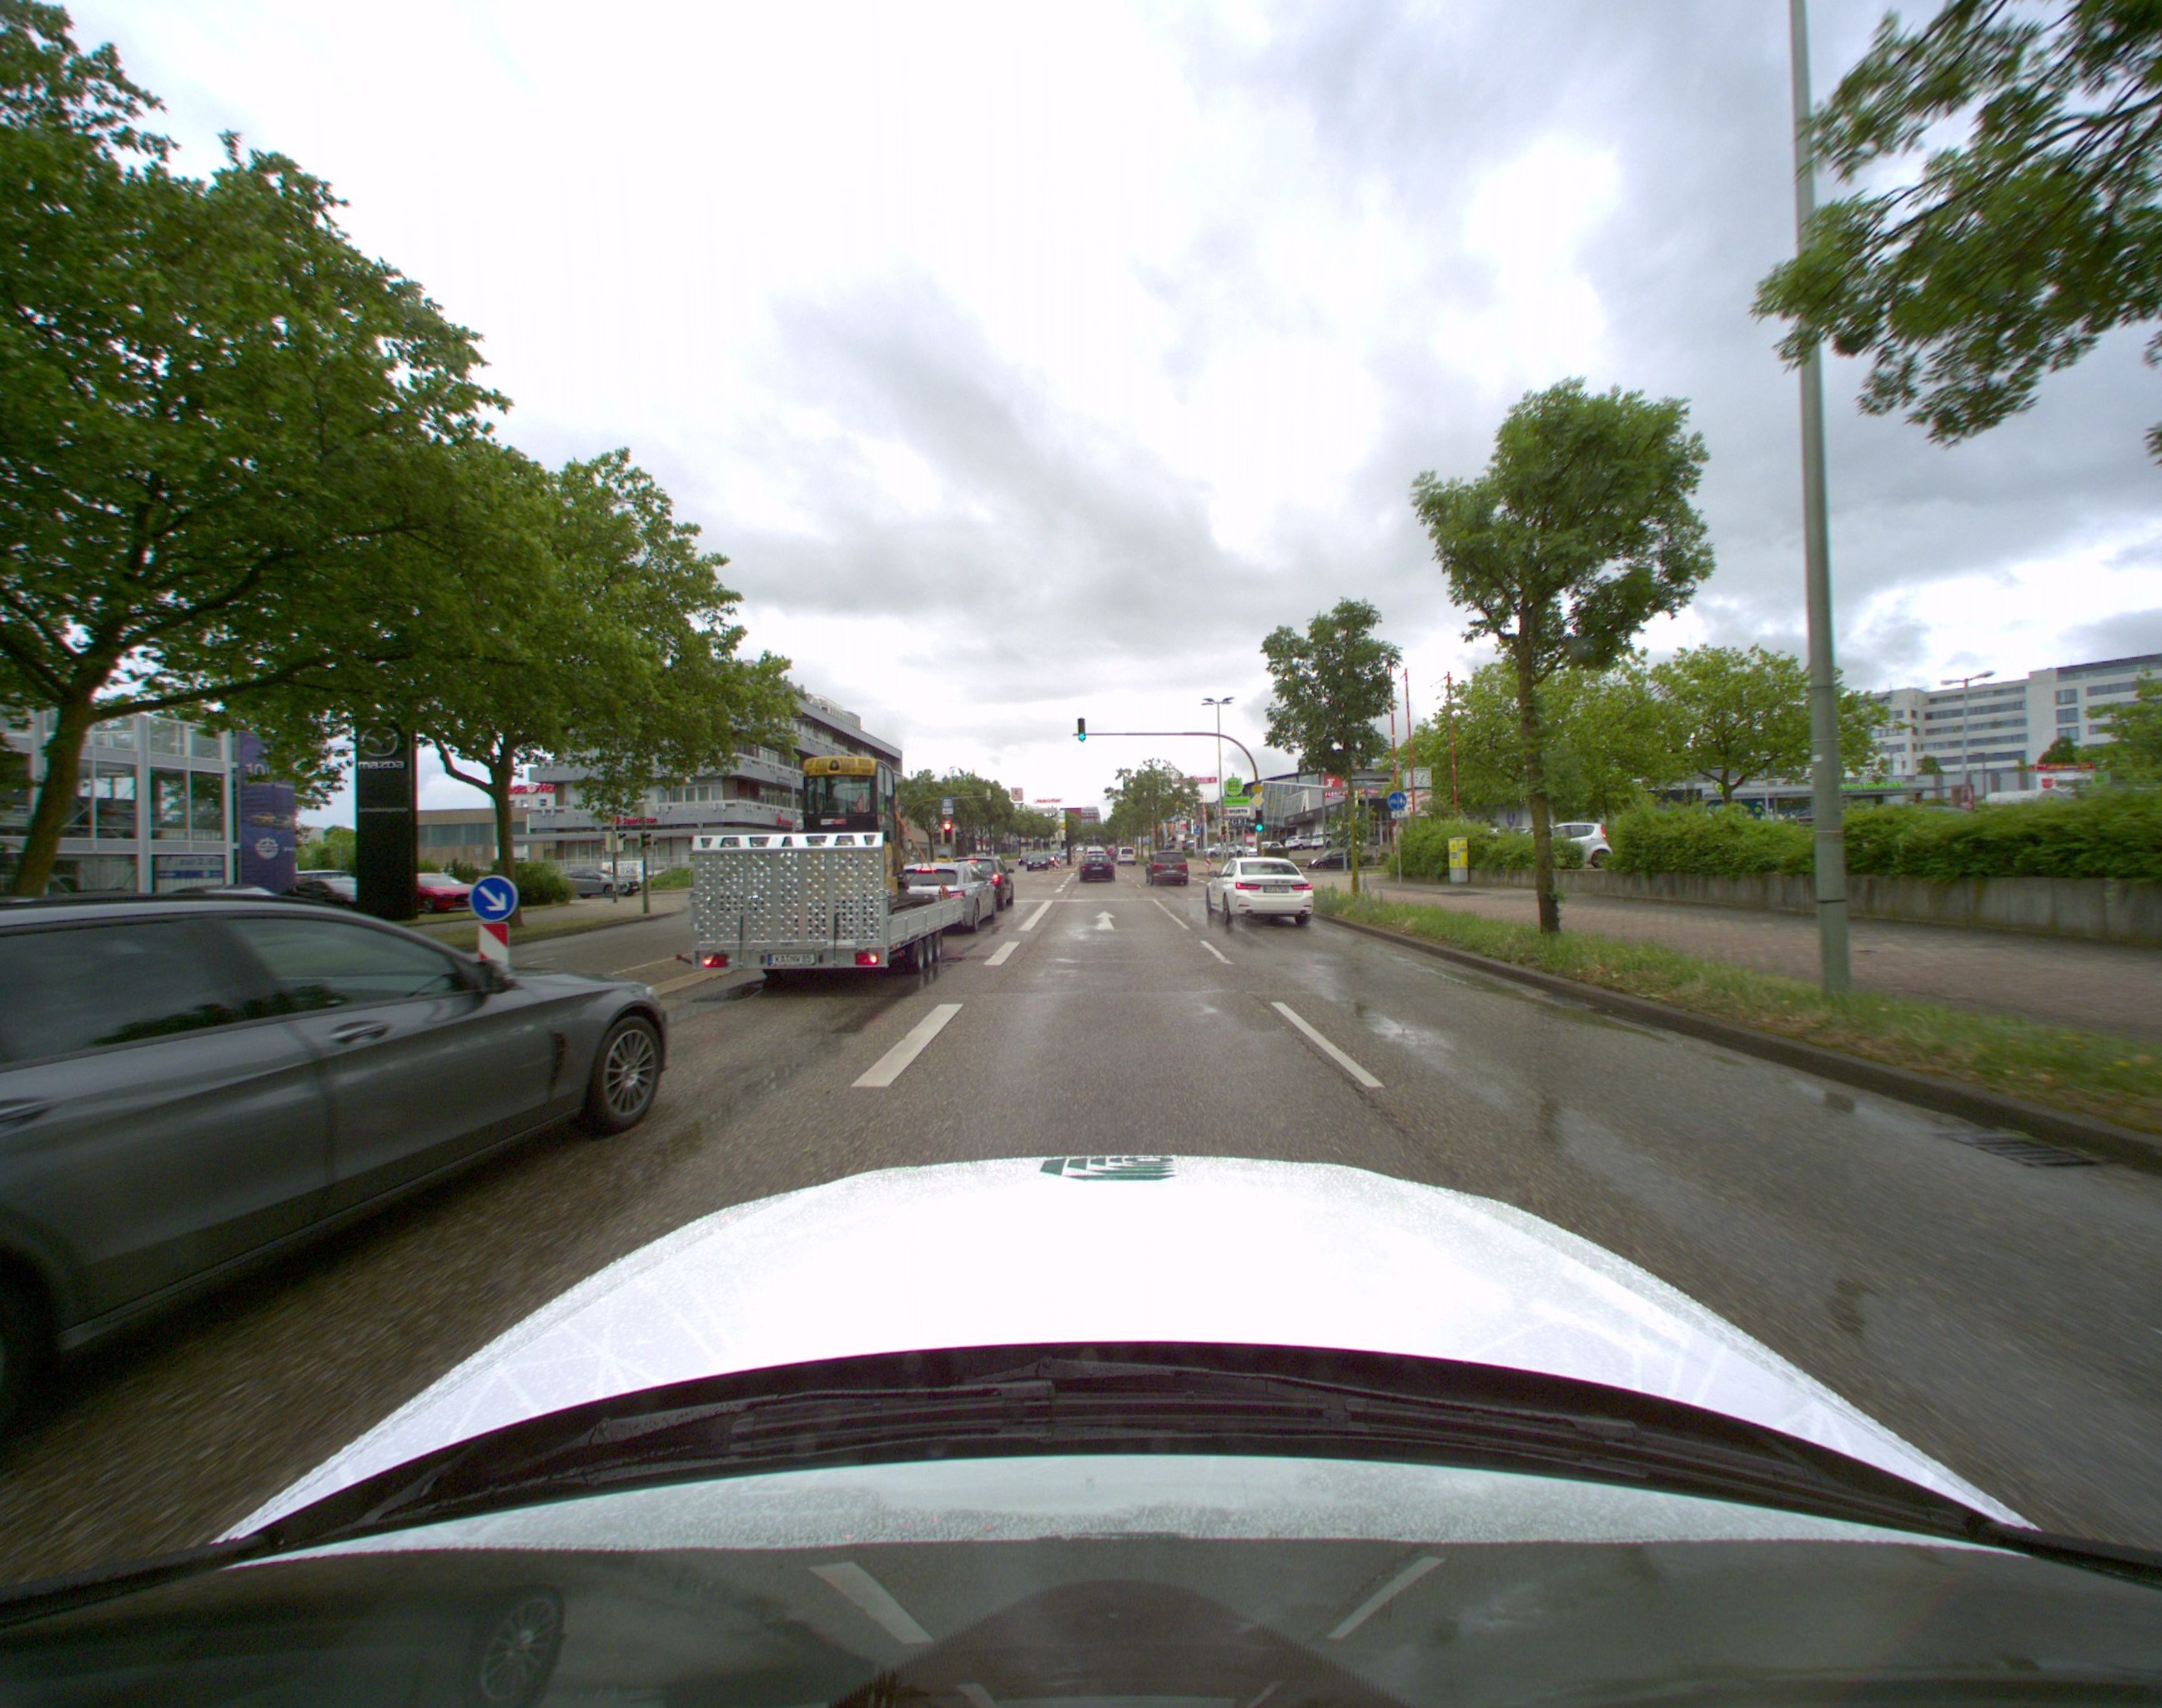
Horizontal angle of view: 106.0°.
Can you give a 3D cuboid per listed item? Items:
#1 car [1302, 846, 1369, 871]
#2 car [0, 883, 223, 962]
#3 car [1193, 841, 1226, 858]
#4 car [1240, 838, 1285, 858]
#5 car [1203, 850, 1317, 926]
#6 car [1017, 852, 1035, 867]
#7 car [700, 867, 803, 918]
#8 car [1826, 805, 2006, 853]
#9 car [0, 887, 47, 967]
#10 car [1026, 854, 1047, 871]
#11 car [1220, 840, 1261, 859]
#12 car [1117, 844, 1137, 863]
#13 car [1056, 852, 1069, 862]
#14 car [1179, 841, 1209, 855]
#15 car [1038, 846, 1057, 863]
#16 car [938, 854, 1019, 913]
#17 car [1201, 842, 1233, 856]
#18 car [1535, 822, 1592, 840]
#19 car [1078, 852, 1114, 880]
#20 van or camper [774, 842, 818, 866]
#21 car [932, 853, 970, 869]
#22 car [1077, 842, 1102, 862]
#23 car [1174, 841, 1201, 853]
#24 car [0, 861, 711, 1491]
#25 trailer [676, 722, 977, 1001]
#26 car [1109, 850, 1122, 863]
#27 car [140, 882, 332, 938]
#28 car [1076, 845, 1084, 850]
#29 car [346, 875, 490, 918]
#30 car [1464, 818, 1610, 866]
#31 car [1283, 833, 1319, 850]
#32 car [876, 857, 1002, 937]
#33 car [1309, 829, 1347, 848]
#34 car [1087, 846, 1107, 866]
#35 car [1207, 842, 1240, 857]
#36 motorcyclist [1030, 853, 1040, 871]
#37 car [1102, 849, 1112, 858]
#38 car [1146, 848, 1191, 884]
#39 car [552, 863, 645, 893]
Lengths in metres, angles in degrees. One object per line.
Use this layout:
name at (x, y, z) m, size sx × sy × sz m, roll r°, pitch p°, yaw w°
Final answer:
car at (17.262, 0.280, 55.285) m, size 3.965 × 1.489 × 1.818 m, roll -3°, pitch -1°, yaw 1°
car at (-24.542, 1.659, 20.005) m, size 4.236 × 1.596 × 1.985 m, roll -3°, pitch 0°, yaw -22°
car at (16.883, -0.630, 107.506) m, size 4.094 × 2.105 × 1.801 m, roll -1°, pitch 0°, yaw 2°
car at (15.928, -0.549, 71.397) m, size 1.908 × 1.576 × 4.314 m, roll -2°, pitch 0°, yaw 43°
car at (3.969, 0.690, 18.808) m, size 1.794 × 1.544 × 4.622 m, roll 0°, pitch 0°, yaw 2°
car at (-6.539, 0.623, 96.557) m, size 1.906 × 1.608 × 4.360 m, roll -2°, pitch 0°, yaw -2°
car at (-11.002, 1.234, 27.498) m, size 1.705 × 1.383 × 4.173 m, roll -4°, pitch 0°, yaw -1°
car at (28.421, -0.821, 27.832) m, size 3.970 × 1.442 × 2.002 m, roll -2°, pitch 0°, yaw 3°
car at (-24.643, 1.643, 16.398) m, size 4.236 × 1.653 × 1.997 m, roll -3°, pitch -1°, yaw -22°
car at (-3.749, 0.730, 69.511) m, size 1.678 × 1.377 × 3.997 m, roll -2°, pitch 0°, yaw -2°
car at (16.350, -0.511, 83.458) m, size 4.047 × 1.662 × 1.960 m, roll -4°, pitch 1°, yaw -38°
car at (4.620, -0.037, 82.233) m, size 1.775 × 1.866 × 4.001 m, roll -2°, pitch 0°, yaw 1°
car at (-2.790, 0.489, 126.499) m, size 1.717 × 1.398 × 4.790 m, roll -4°, pitch 0°, yaw 1°
car at (16.470, -0.898, 118.718) m, size 4.094 × 1.904 × 1.801 m, roll -2°, pitch 0°, yaw 2°
car at (-3.245, 0.056, 78.742) m, size 1.740 × 1.489 × 4.825 m, roll -2°, pitch 0°, yaw -2°
car at (-2.889, 0.781, 23.761) m, size 1.707 × 1.489 × 4.078 m, roll -2°, pitch 0°, yaw 1°
car at (16.162, -0.630, 96.914) m, size 3.617 × 1.536 × 1.776 m, roll -3°, pitch 1°, yaw -38°
car at (44.220, -2.067, 74.682) m, size 1.747 × 1.481 × 4.106 m, roll -2°, pitch 0°, yaw -39°
car at (0.803, 0.603, 43.052) m, size 1.775 × 1.398 × 4.001 m, roll -1°, pitch 0°, yaw 1°
van or camper at (-24.176, 0.037, 69.282) m, size 1.986 × 1.967 × 4.789 m, roll 0°, pitch -1°, yaw 1°
car at (-14.521, 0.786, 90.741) m, size 3.948 × 1.552 × 1.912 m, roll -2°, pitch 0°, yaw 36°
car at (0.584, -0.130, 60.113) m, size 1.678 × 1.377 × 3.997 m, roll -2°, pitch 0°, yaw -2°
car at (16.434, -1.035, 126.185) m, size 4.089 × 1.703 × 1.803 m, roll -1°, pitch 0°, yaw 7°
car at (-3.547, 0.843, 3.058) m, size 1.986 × 1.429 × 4.557 m, roll -3°, pitch 0°, yaw 2°
trailer at (-3.081, 0.088, 11.481) m, size 2.365 × 2.897 × 5.545 m, roll -2°, pitch 0°, yaw 0°
car at (4.549, 0.319, 107.233) m, size 1.678 × 1.684 × 3.404 m, roll 0°, pitch -1°, yaw 2°
car at (-25.038, 1.629, 24.233) m, size 3.732 × 1.391 × 1.688 m, roll -2°, pitch 0°, yaw -4°
car at (-0.254, -1.747, 223.481) m, size 1.937 × 1.448 × 4.000 m, roll -1°, pitch 0°, yaw 0°
car at (-24.075, 1.512, 29.674) m, size 3.732 × 1.294 × 1.688 m, roll -3°, pitch 0°, yaw -4°
car at (15.371, -0.390, 27.598) m, size 3.970 × 1.442 × 1.657 m, roll -2°, pitch 0°, yaw 3°
car at (24.966, -1.458, 92.223) m, size 4.174 × 1.771 × 1.718 m, roll -2°, pitch 0°, yaw -38°
car at (-2.922, 0.822, 17.804) m, size 1.759 × 1.458 × 4.782 m, roll -2°, pitch 0°, yaw 1°
car at (25.043, -1.548, 82.546) m, size 4.177 × 1.771 × 1.717 m, roll -2°, pitch 0°, yaw -42°
car at (1.690, 0.181, 84.134) m, size 1.986 × 2.014 × 4.001 m, roll 0°, pitch -1°, yaw 1°
car at (15.617, -0.494, 89.218) m, size 3.616 × 1.536 × 1.625 m, roll -2°, pitch 0°, yaw -38°
motorcyclist at (-4.222, 0.715, 74.130) m, size 0.804 × 1.559 × 1.267 m, roll -1°, pitch 0°, yaw -1°
car at (4.395, -0.133, 136.408) m, size 1.689 × 1.443 × 3.991 m, roll -2°, pitch 1°, yaw 2°
car at (4.057, 0.520, 38.322) m, size 1.794 × 1.587 × 4.453 m, roll 0°, pitch 0°, yaw 2°
car at (-27.609, 1.349, 46.701) m, size 4.135 × 1.489 × 1.879 m, roll -2°, pitch 0°, yaw -1°
